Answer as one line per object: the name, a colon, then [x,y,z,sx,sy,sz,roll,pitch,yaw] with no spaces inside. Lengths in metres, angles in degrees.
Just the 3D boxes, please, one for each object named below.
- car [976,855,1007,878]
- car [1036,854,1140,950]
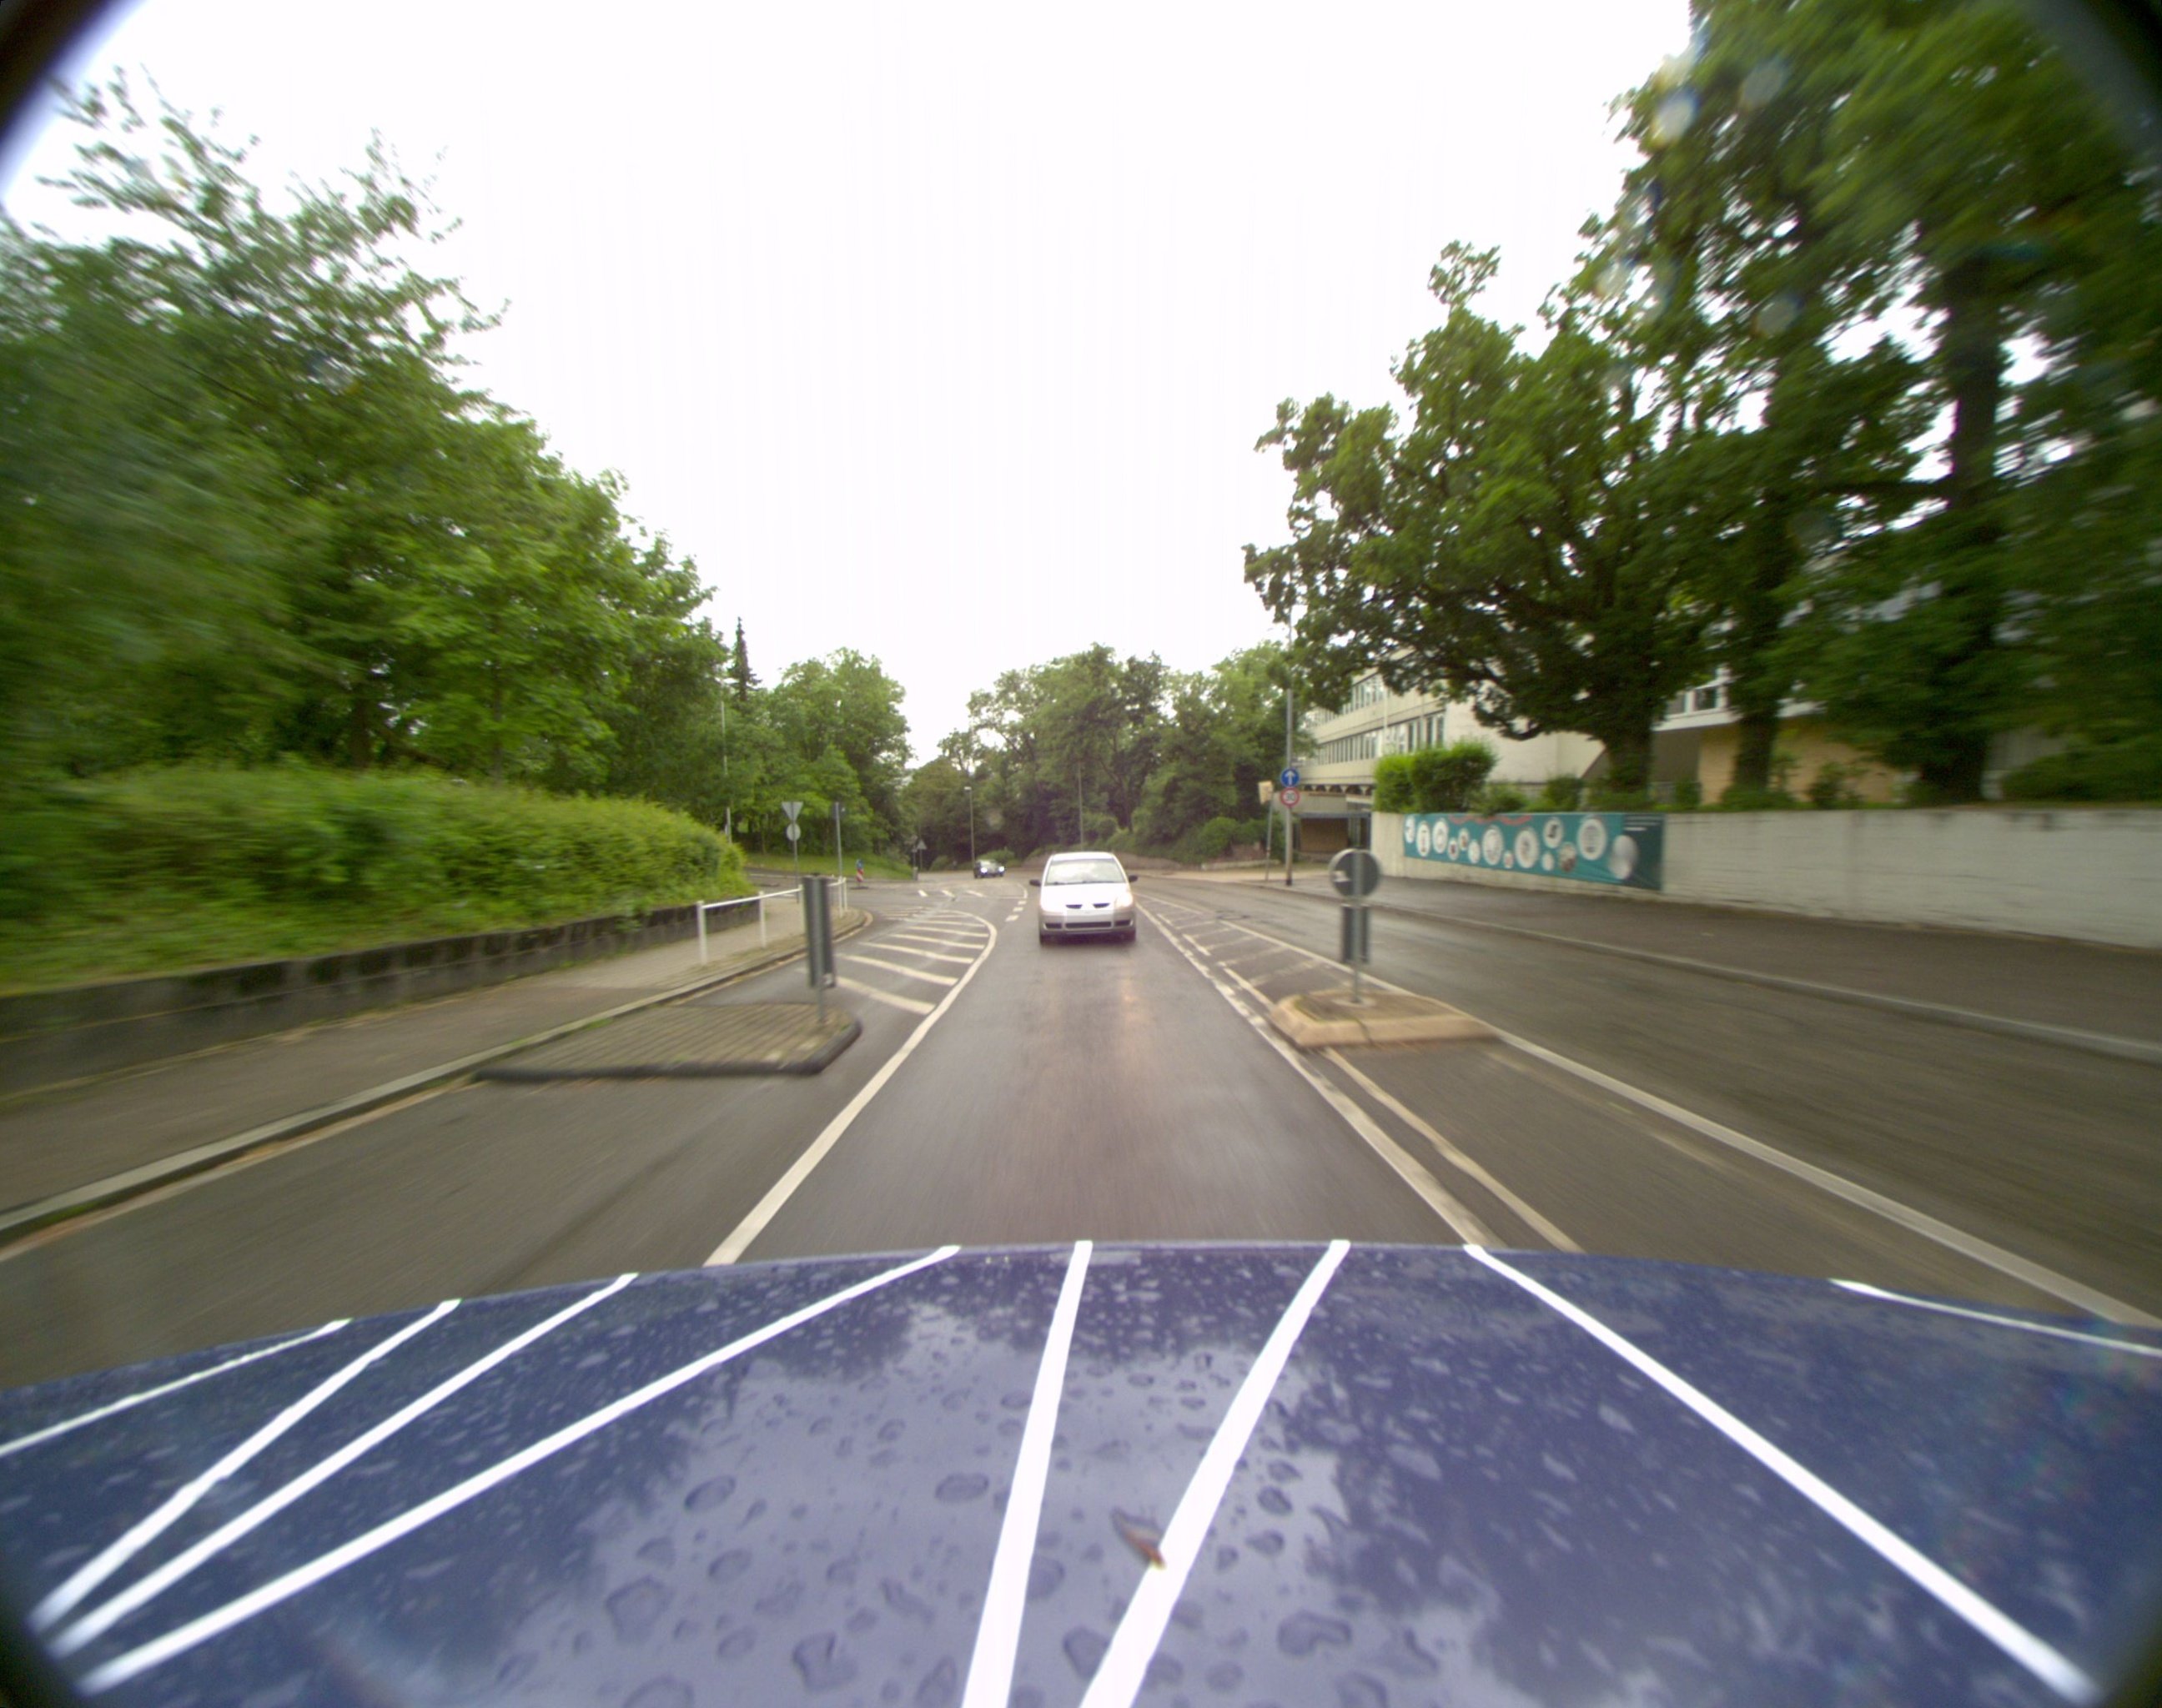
car: [-7.250,1.005,61.357,2.037,1.691,3.995,-2,0,-12]
car: [0.088,0.805,14.315,1.640,1.496,4.000,-2,-1,-1]
